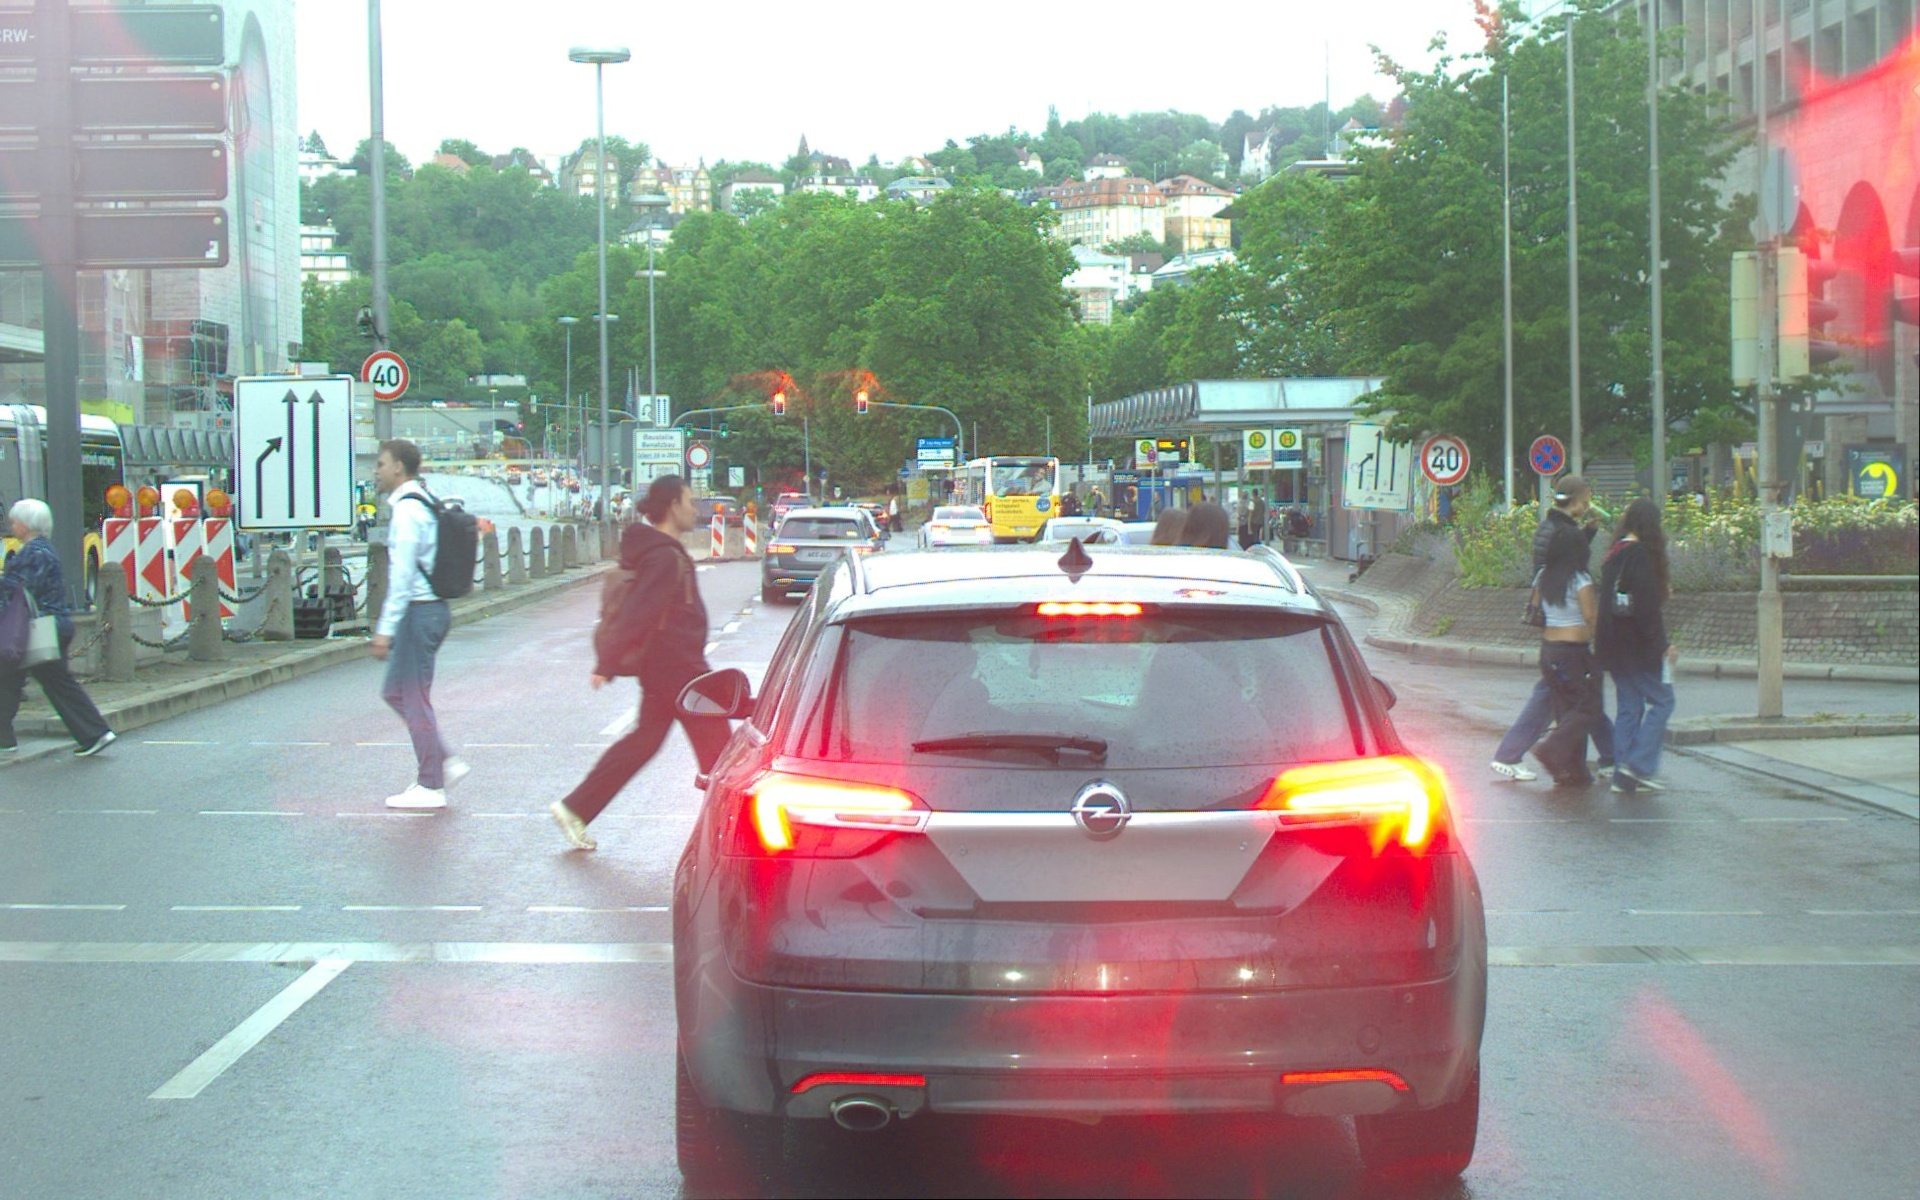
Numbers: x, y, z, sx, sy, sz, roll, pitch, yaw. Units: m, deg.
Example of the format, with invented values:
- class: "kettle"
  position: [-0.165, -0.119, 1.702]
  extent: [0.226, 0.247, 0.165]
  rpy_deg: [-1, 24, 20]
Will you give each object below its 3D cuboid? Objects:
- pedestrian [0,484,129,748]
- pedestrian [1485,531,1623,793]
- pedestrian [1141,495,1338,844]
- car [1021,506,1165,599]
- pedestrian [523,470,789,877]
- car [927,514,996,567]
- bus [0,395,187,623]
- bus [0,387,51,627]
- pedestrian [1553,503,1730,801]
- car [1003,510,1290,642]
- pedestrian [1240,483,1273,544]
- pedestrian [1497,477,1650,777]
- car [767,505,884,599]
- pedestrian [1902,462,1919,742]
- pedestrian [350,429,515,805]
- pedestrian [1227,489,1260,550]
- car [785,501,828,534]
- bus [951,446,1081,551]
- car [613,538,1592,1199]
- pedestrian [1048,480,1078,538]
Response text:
- class: "pedestrian"
  position: [-5.599, 0.088, 20.814]
  extent: [0.872, 1.555, 0.787]
  rpy_deg: [0, 1, -33]
- class: "pedestrian"
  position: [3.373, 0.346, 19.534]
  extent: [0.678, 1.469, 0.366]
  rpy_deg: [1, 1, -5]
- class: "pedestrian"
  position: [1.330, 0.319, 16.523]
  extent: [0.793, 1.620, 0.900]
  rpy_deg: [1, 1, -4]
- class: "car"
  position: [2.052, -0.754, 54.339]
  extent: [1.753, 1.393, 4.403]
  rpy_deg: [1, 1, -4]
- class: "pedestrian"
  position: [-1.350, 0.318, 15.433]
  extent: [1.096, 1.745, 0.654]
  rpy_deg: [-2, 1, -3]
- class: "car"
  position: [0.024, -1.624, 93.980]
  extent: [1.845, 1.393, 3.564]
  rpy_deg: [1, 1, -1]
- class: "bus"
  position: [-15.835, -1.534, 59.542]
  extent: [2.668, 3.589, 10.212]
  rpy_deg: [1, 1, -1]
- class: "bus"
  position: [-15.713, -1.375, 49.357]
  extent: [2.668, 3.589, 10.240]
  rpy_deg: [1, 1, -1]
- class: "pedestrian"
  position: [3.751, 0.278, 18.960]
  extent: [0.799, 1.603, 0.620]
  rpy_deg: [1, 1, -4]
- class: "car"
  position: [2.039, -0.296, 39.093]
  extent: [1.752, 1.393, 4.650]
  rpy_deg: [1, 1, -17]
- class: "pedestrian"
  position: [8.194, -2.388, 94.952]
  extent: [0.763, 1.684, 0.825]
  rpy_deg: [1, 1, -5]
- class: "pedestrian"
  position: [3.560, 0.152, 19.981]
  extent: [0.755, 1.711, 0.466]
  rpy_deg: [1, 1, -4]
- class: "car"
  position: [-2.112, -0.763, 54.258]
  extent: [1.753, 1.393, 4.538]
  rpy_deg: [1, 1, -2]
- class: "pedestrian"
  position: [6.338, 0.015, 21.532]
  extent: [0.570, 1.746, 0.679]
  rpy_deg: [1, 1, 42]
- class: "pedestrian"
  position: [-2.701, 0.082, 17.612]
  extent: [0.798, 1.884, 0.620]
  rpy_deg: [1, 1, -9]
- class: "pedestrian"
  position: [7.944, -2.243, 96.306]
  extent: [0.763, 1.684, 0.825]
  rpy_deg: [1, 1, -5]
- class: "car"
  position: [-6.725, -3.609, 151.050]
  extent: [1.759, 1.393, 3.564]
  rpy_deg: [1, 1, -1]
- class: "bus"
  position: [1.835, -3.491, 121.868]
  extent: [4.173, 3.457, 14.655]
  rpy_deg: [1, 1, -1]
- class: "car"
  position: [0.238, 0.603, 8.649]
  extent: [1.874, 1.481, 4.000]
  rpy_deg: [1, 1, -1]
- class: "pedestrian"
  position: [4.328, -3.825, 144.492]
  extent: [1.199, 2.427, 1.228]
  rpy_deg: [1, 1, 1]
